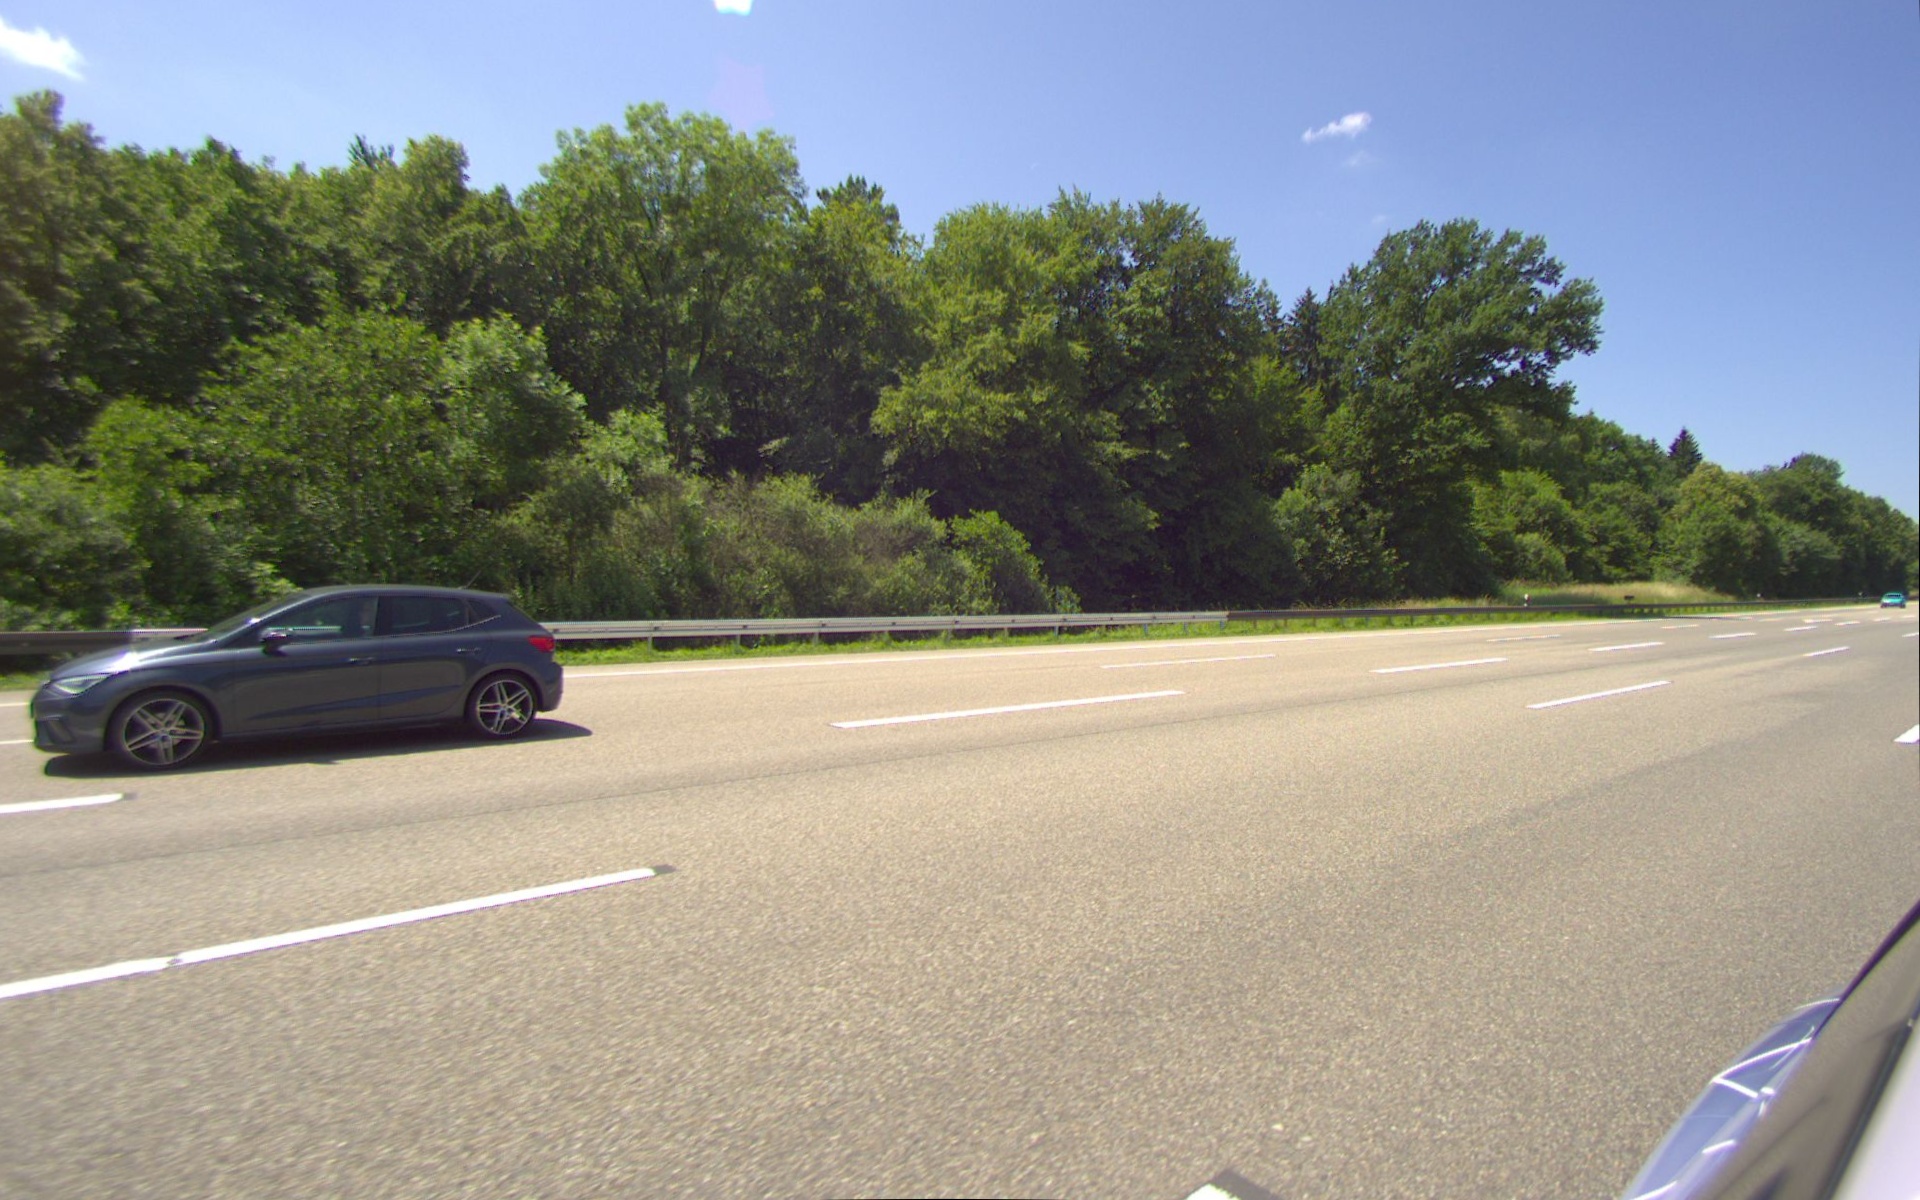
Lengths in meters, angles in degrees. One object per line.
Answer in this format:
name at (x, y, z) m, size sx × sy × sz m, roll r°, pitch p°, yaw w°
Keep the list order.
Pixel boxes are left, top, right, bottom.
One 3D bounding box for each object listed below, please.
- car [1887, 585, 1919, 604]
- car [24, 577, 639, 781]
car at (91.434, -0.547, 97.849) m, size 4.053 × 1.701 × 1.999 m, roll -1°, pitch 3°, yaw -39°
car at (-5.495, 0.553, 9.353) m, size 4.554 × 1.457 × 1.646 m, roll 0°, pitch 0°, yaw -41°
